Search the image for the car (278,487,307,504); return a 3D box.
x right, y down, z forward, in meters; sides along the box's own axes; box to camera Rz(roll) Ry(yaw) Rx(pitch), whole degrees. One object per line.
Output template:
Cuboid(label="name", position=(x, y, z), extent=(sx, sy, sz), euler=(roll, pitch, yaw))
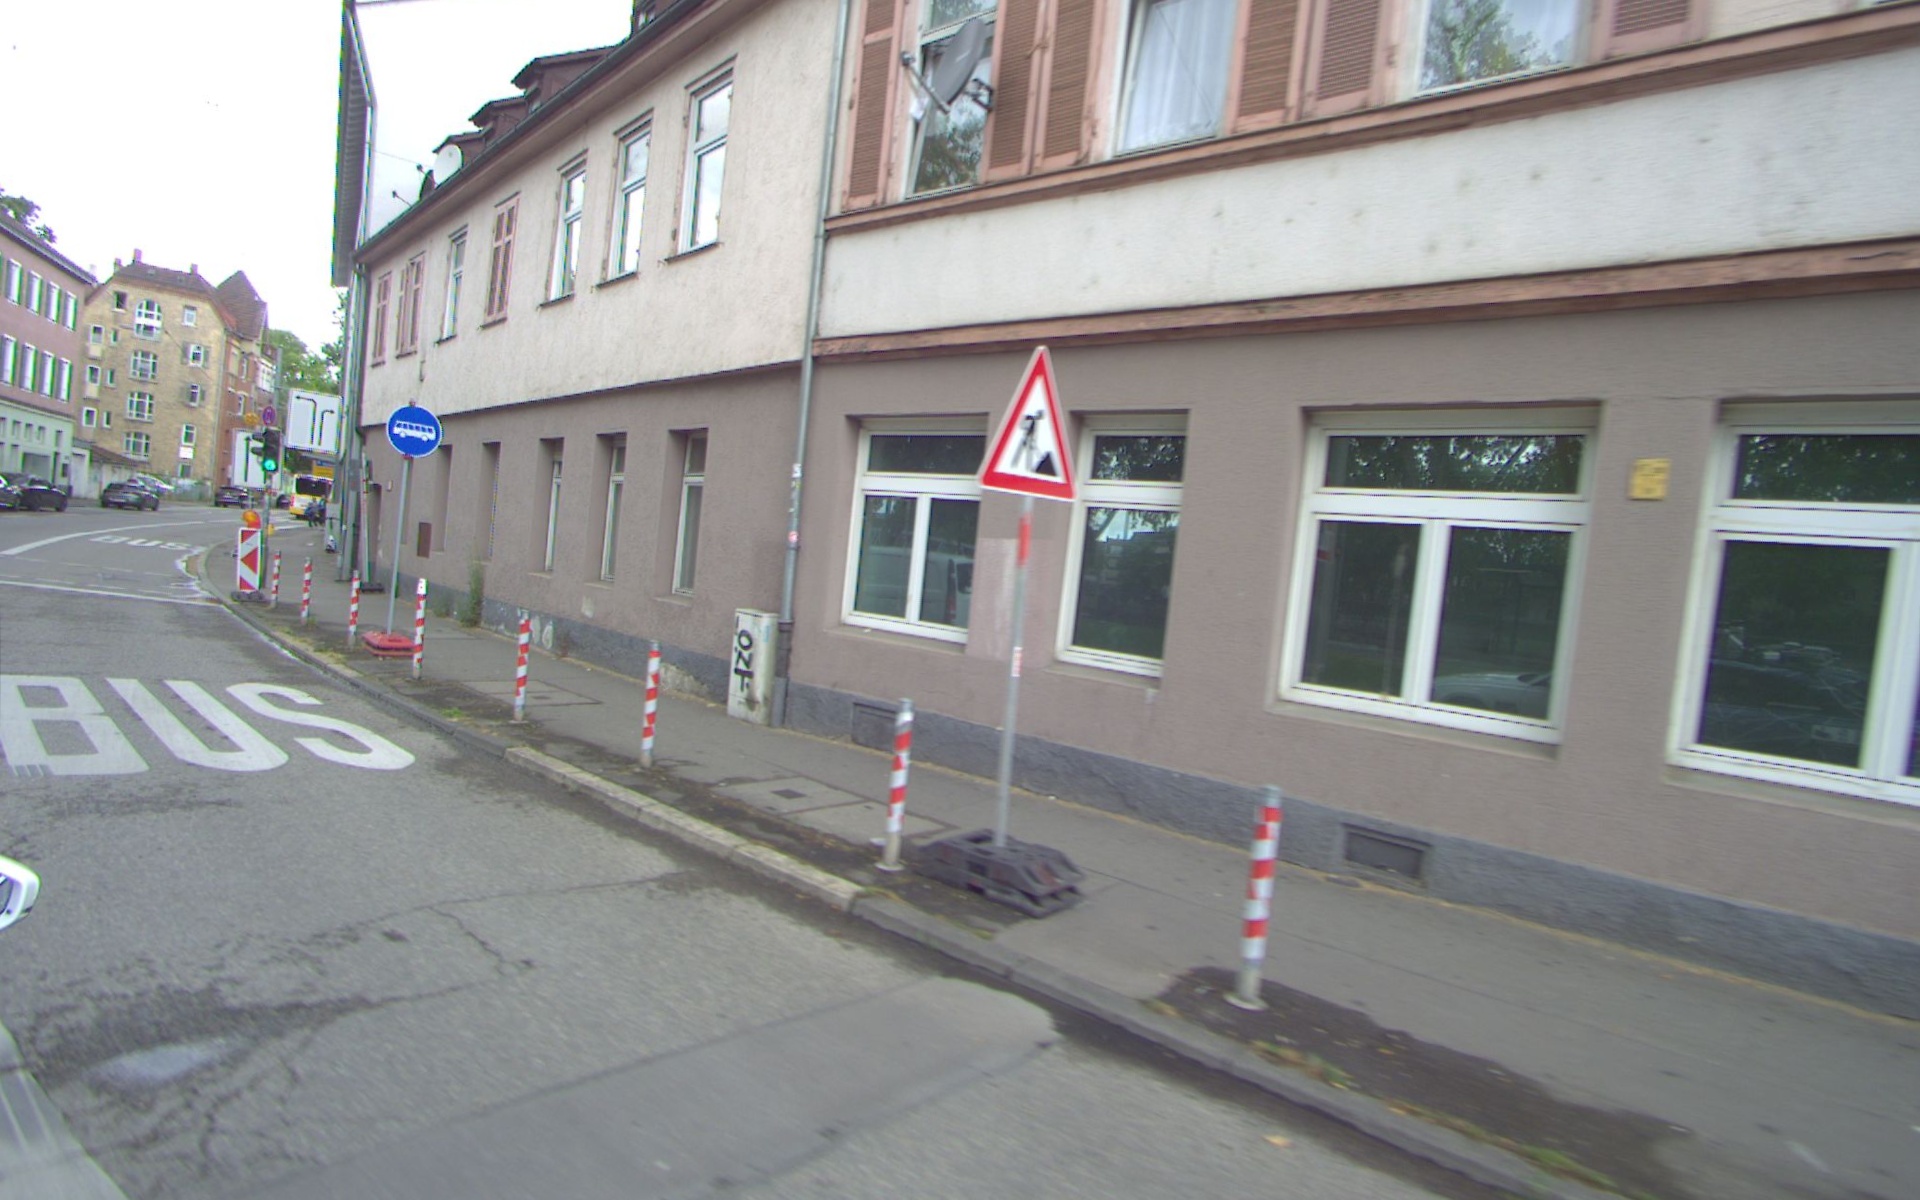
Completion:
Cuboid(label="car", position=(-68.796, -10.794, 103.777), extent=(1.708, 1.506, 4.358), euler=(6, 4, -25))

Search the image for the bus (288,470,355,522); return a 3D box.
Cuboid(label="bus", position=(-46.543, -7.524, 73.600), extent=(2.639, 3.176, 9.969), euler=(7, 1, -26))

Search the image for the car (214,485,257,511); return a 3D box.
Cuboid(label="car", position=(-57.487, -8.075, 79.903), extent=(1.936, 1.757, 4.739), euler=(6, 3, -26))

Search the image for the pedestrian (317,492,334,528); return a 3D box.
Cuboid(label="pedestrian", position=(-32.984, -4.672, 52.315), extent=(0.681, 1.782, 0.870), euler=(2, 6, -33))

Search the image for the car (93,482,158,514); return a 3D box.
Cuboid(label="car", position=(-45.972, -5.603, 55.514), extent=(1.979, 1.305, 3.969), euler=(8, -1, -30))

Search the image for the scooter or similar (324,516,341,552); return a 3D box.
Cuboid(label="scooter or similar", position=(-21.000, -2.209, 33.681), extent=(0.425, 1.112, 1.425), euler=(2, 4, -33))

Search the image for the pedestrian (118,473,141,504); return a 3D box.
Cuboid(label="pedestrian", position=(-50.738, -6.798, 61.449), extent=(0.755, 1.766, 0.977), euler=(7, 1, -29))

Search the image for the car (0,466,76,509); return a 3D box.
Cuboid(label="car", position=(-38.535, -4.629, 41.452), extent=(1.812, 1.474, 4.888), euler=(5, 1, -26))

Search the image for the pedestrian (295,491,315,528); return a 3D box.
Cuboid(label="pedestrian", position=(-34.312, -4.736, 52.700), extent=(0.796, 1.820, 0.934), euler=(2, 6, -33))

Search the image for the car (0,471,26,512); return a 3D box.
Cuboid(label="car", position=(-35.739, -4.053, 36.398), extent=(1.814, 1.474, 4.547), euler=(5, 1, -30))
